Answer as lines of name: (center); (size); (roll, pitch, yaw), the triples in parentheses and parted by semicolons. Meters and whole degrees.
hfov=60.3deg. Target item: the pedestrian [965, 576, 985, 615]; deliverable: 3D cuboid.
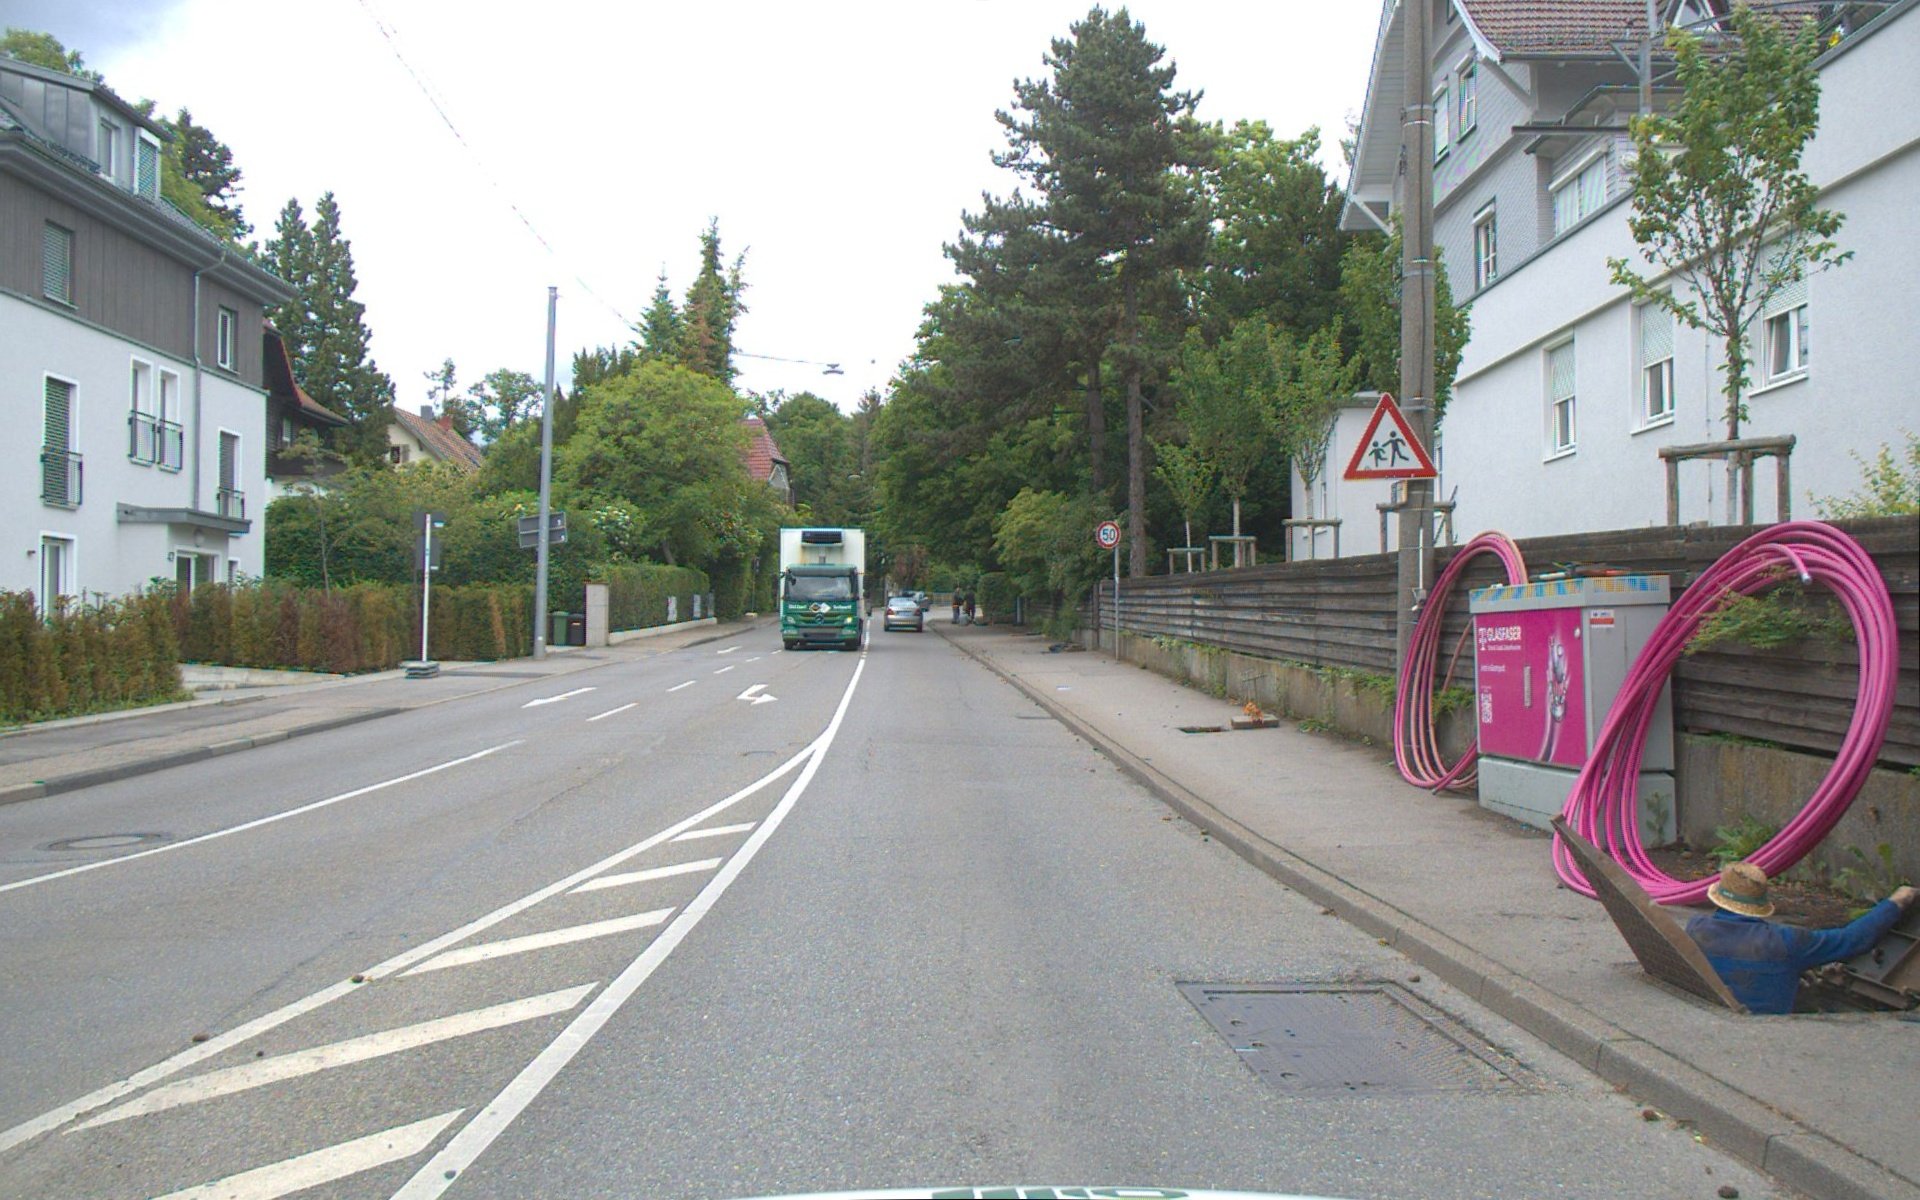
pedestrian: (0.727, -0.215, 79.035); (0.685, 1.839, 0.662); (0, 0, -44)

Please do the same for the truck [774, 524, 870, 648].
truck: (-4.221, -0.336, 50.913); (2.723, 3.522, 7.485); (0, -1, -5)

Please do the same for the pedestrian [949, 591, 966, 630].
pedestrian: (-0.129, 0.506, 79.167); (0.791, 1.839, 0.740); (0, 0, -4)

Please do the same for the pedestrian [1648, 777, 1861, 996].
pedestrian: (3.124, 1.097, 6.501); (0.642, 0.709, 0.575); (0, 0, -44)

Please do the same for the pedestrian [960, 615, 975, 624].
pedestrian: (0.358, 0.894, 76.880); (0.659, 0.400, 0.740); (0, 0, -4)

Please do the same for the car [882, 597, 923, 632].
car: (-2.478, 0.650, 72.223); (1.760, 1.440, 4.334); (0, -1, -1)

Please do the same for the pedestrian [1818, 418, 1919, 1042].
pedestrian: (3.403, 0.406, 5.330); (0.834, 1.957, 0.796); (0, 0, -23)
